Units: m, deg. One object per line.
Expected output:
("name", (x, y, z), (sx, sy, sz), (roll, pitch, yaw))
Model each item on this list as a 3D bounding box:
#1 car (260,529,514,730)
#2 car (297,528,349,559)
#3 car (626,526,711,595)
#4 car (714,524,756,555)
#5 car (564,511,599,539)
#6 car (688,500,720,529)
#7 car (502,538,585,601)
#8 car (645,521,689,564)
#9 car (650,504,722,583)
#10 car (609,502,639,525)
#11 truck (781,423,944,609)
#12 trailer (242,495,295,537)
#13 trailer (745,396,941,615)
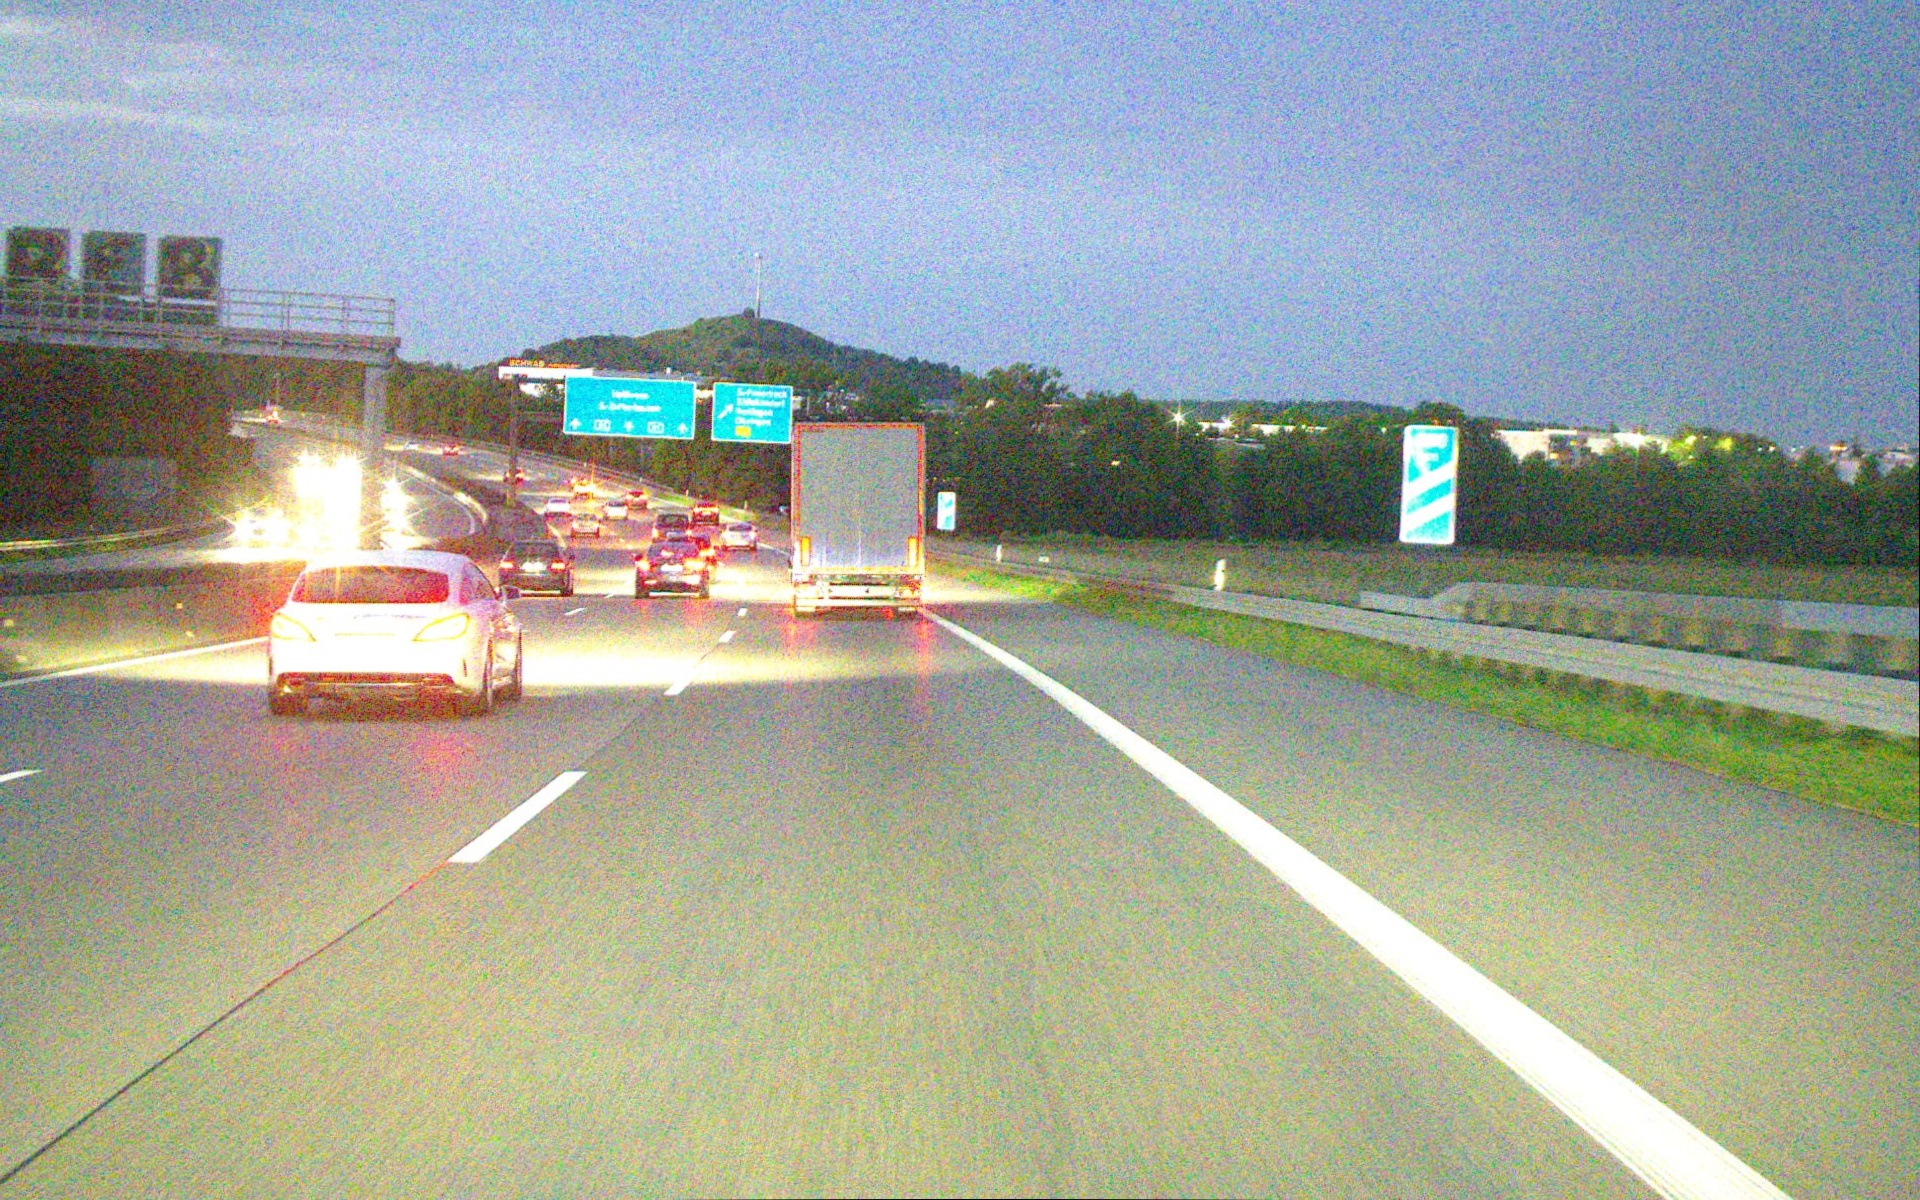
("car", (-4.996, 0.205, 30.507), (1.906, 1.609, 4.805), (1, 1, -6))
("car", (-29.078, -2.559, 157.091), (1.689, 1.349, 4.898), (1, 1, -3))
("car", (-7.440, -1.022, 87.834), (2.065, 1.680, 4.577), (1, 1, -5))
("car", (-11.452, -3.060, 174.777), (1.993, 1.529, 4.001), (1, 1, -5))
("car", (-22.666, -4.500, 206.004), (1.993, 1.616, 4.001), (1, 1, -5))
("car", (-17.930, -5.964, 240.563), (1.993, 1.971, 4.001), (1, 1, -7))
("car", (-10.896, -0.804, 90.214), (1.761, 1.569, 4.577), (1, 1, -2))
("car", (-14.237, -2.785, 166.954), (1.993, 2.007, 4.001), (1, 1, -7))
("car", (-8.504, -1.755, 106.983), (1.993, 2.372, 4.000), (1, 1, -2))
("car", (-24.752, -6.376, 253.308), (1.993, 1.616, 4.001), (1, 1, -9))
("truck", (-2.186, -1.897, 79.637), (3.550, 4.077, 6.151), (1, 0, 0))
("trailer", (-34.597, -4.185, 172.128), (1.912, 1.996, 4.241), (2, 1, -3))
("trailer", (-2.262, -1.846, 72.654), (3.550, 4.102, 15.063), (1, 0, 0))
